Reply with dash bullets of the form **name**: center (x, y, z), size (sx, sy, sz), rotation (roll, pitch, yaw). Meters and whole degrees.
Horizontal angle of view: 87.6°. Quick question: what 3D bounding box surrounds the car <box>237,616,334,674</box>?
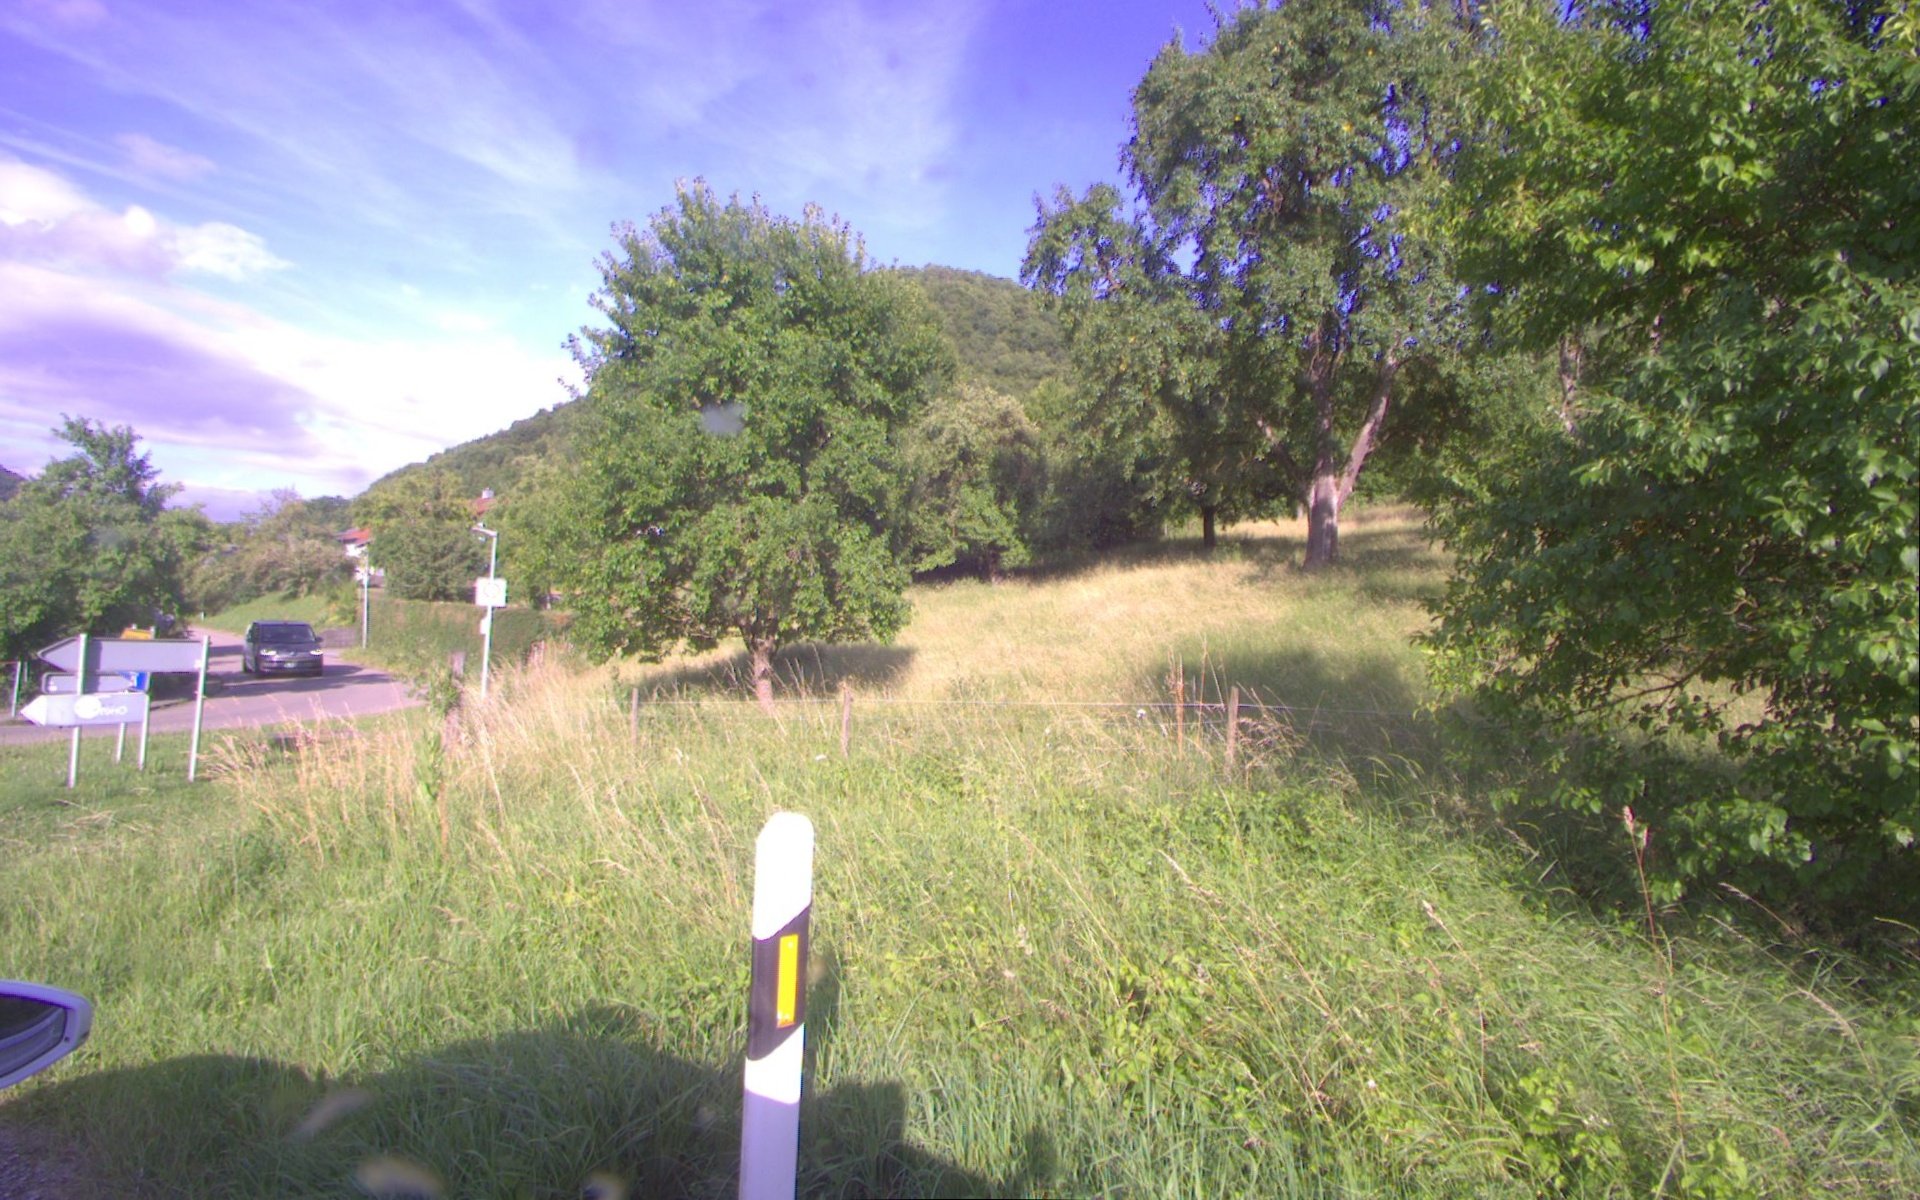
- **car**: center (-23.959, 1.558, 35.498), size (1.982, 1.900, 4.823), rotation (4, -3, -44)
